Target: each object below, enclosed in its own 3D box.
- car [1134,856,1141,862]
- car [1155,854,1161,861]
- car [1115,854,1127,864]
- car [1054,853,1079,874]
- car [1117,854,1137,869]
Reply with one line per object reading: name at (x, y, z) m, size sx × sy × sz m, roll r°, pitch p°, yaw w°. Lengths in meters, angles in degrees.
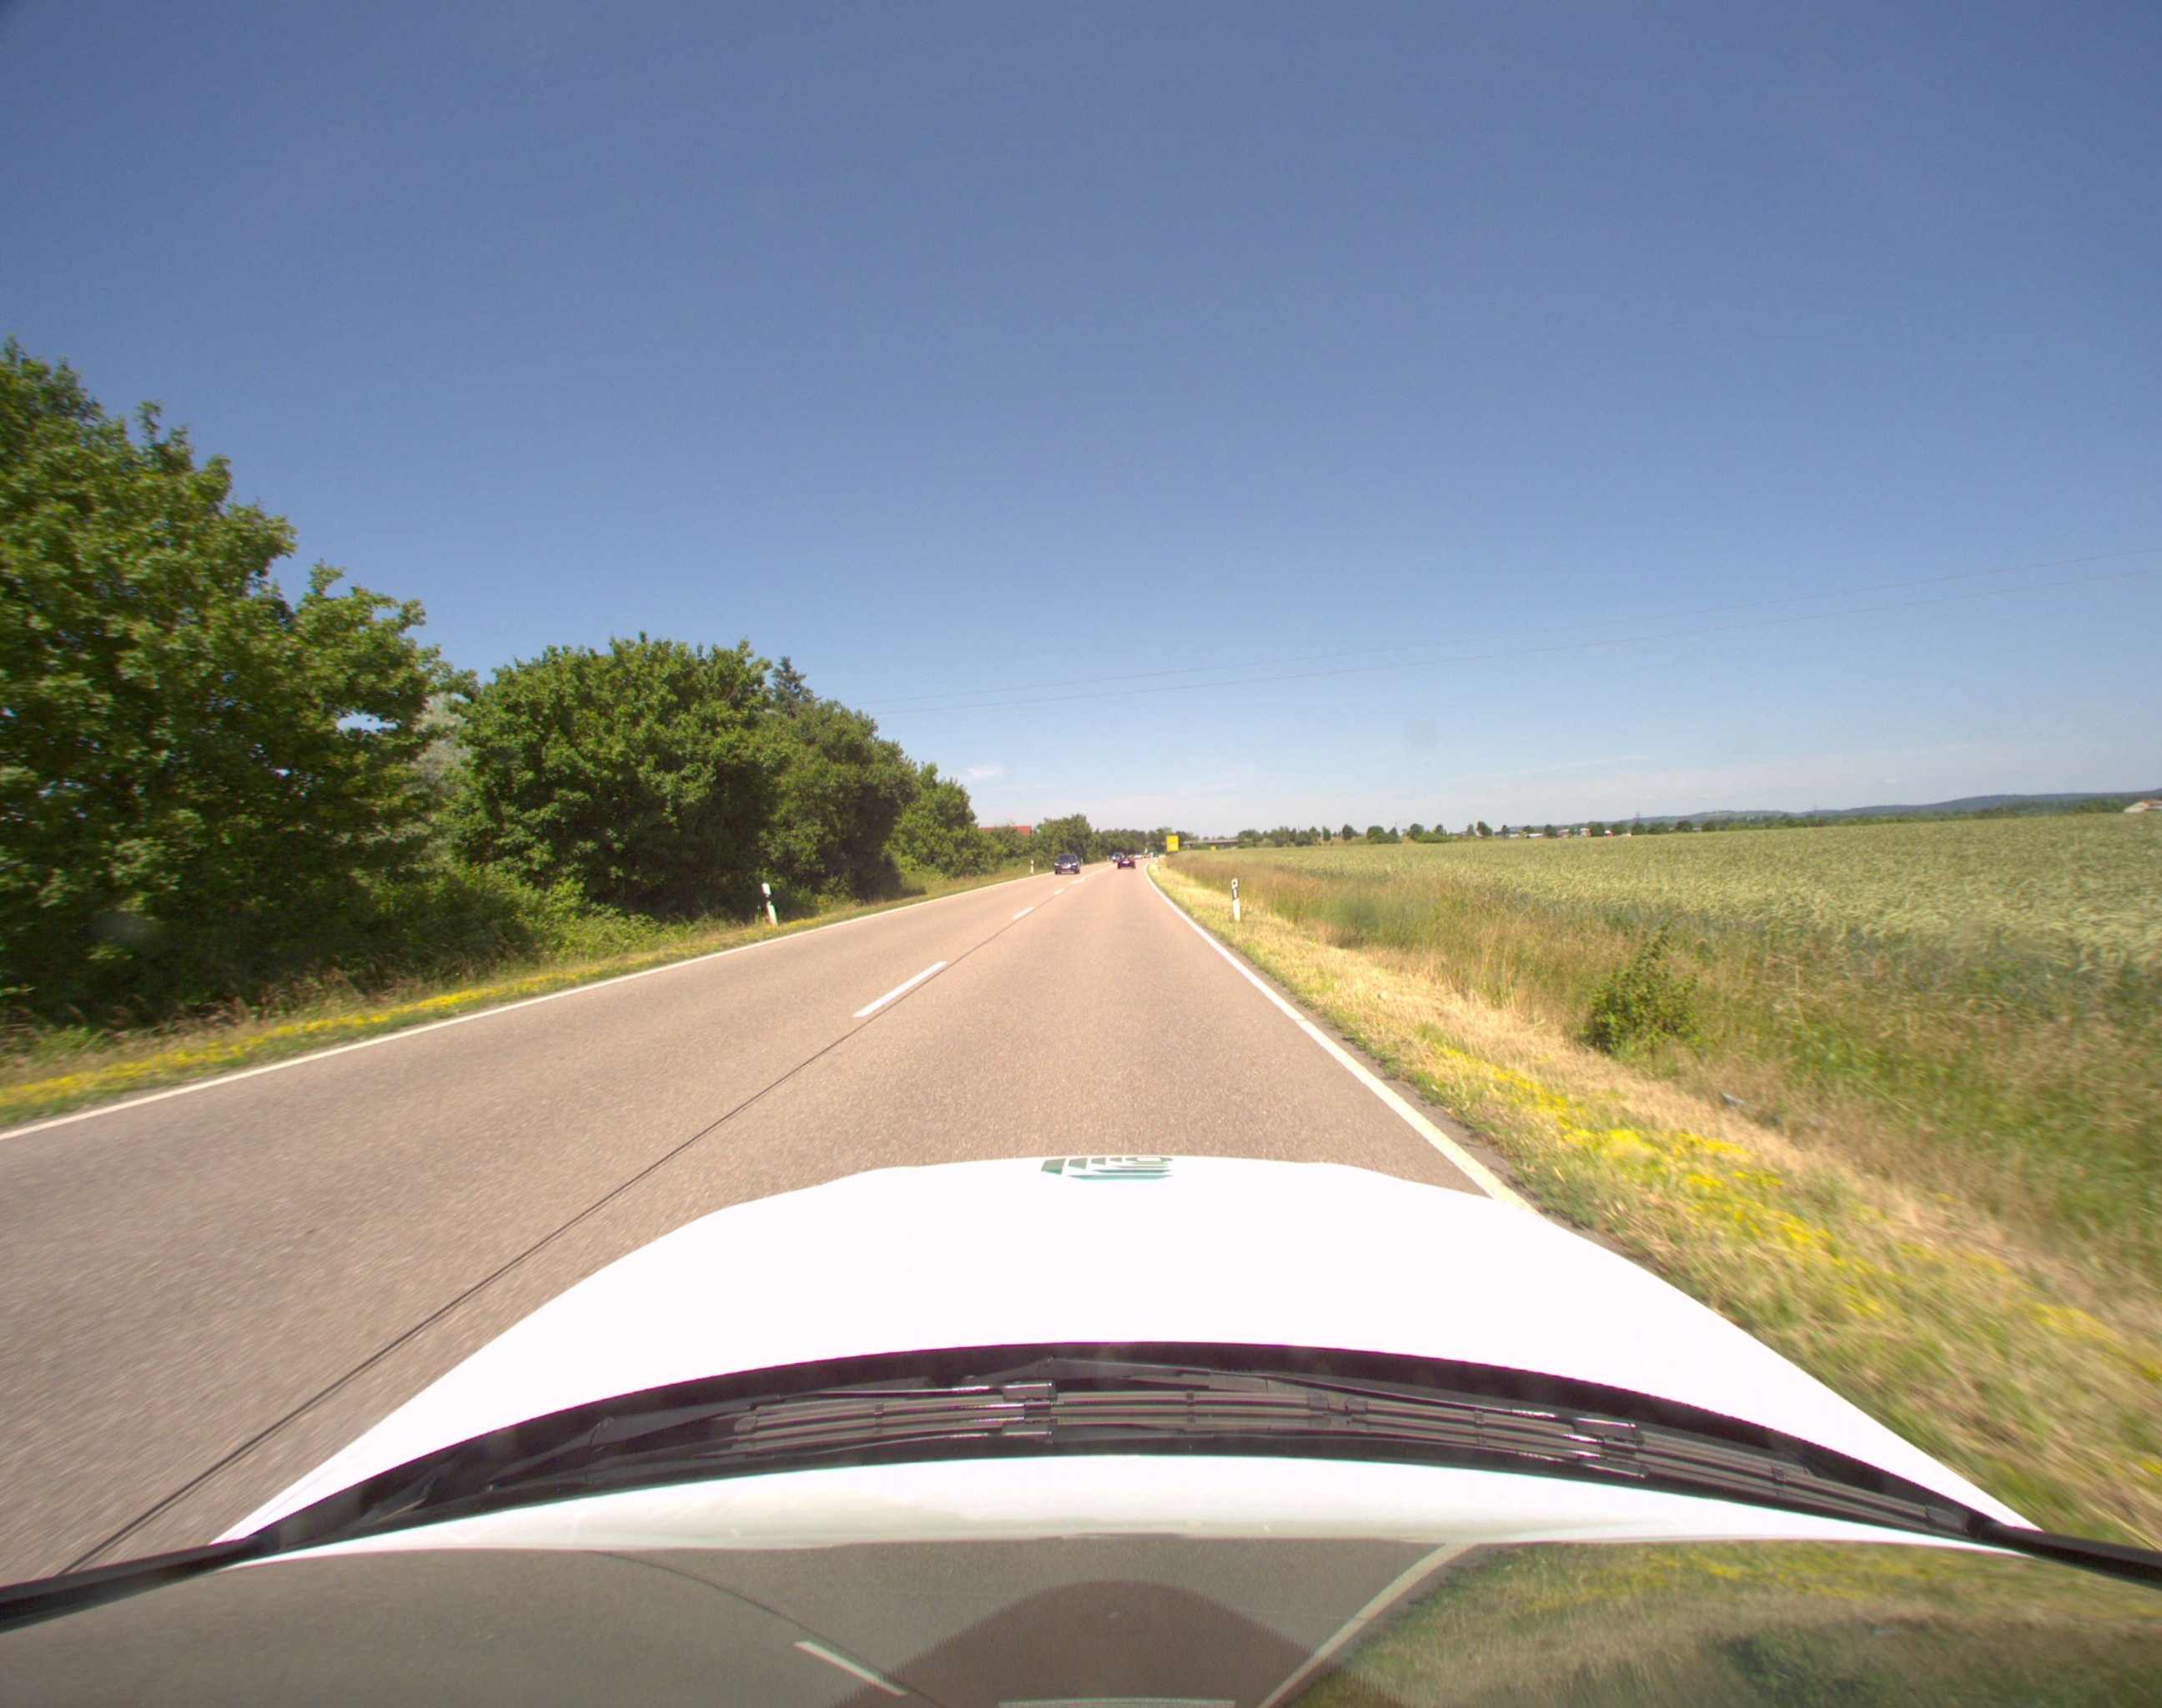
car at (13.793, 1.158, 197.905) m, size 1.699 × 1.381 × 3.825 m, roll -1°, pitch 0°, yaw 5°
car at (24.464, 1.089, 258.073) m, size 1.983 × 2.014 × 4.007 m, roll 0°, pitch 0°, yaw 6°
car at (6.934, 0.905, 140.865) m, size 1.810 × 1.701 × 5.007 m, roll -1°, pitch 0°, yaw 5°
car at (-1.086, 0.733, 63.739) m, size 1.692 × 1.566 × 3.674 m, roll -1°, pitch 0°, yaw 3°
car at (4.634, 0.723, 82.107) m, size 1.805 × 1.441 × 4.006 m, roll 0°, pitch 0°, yaw 6°
